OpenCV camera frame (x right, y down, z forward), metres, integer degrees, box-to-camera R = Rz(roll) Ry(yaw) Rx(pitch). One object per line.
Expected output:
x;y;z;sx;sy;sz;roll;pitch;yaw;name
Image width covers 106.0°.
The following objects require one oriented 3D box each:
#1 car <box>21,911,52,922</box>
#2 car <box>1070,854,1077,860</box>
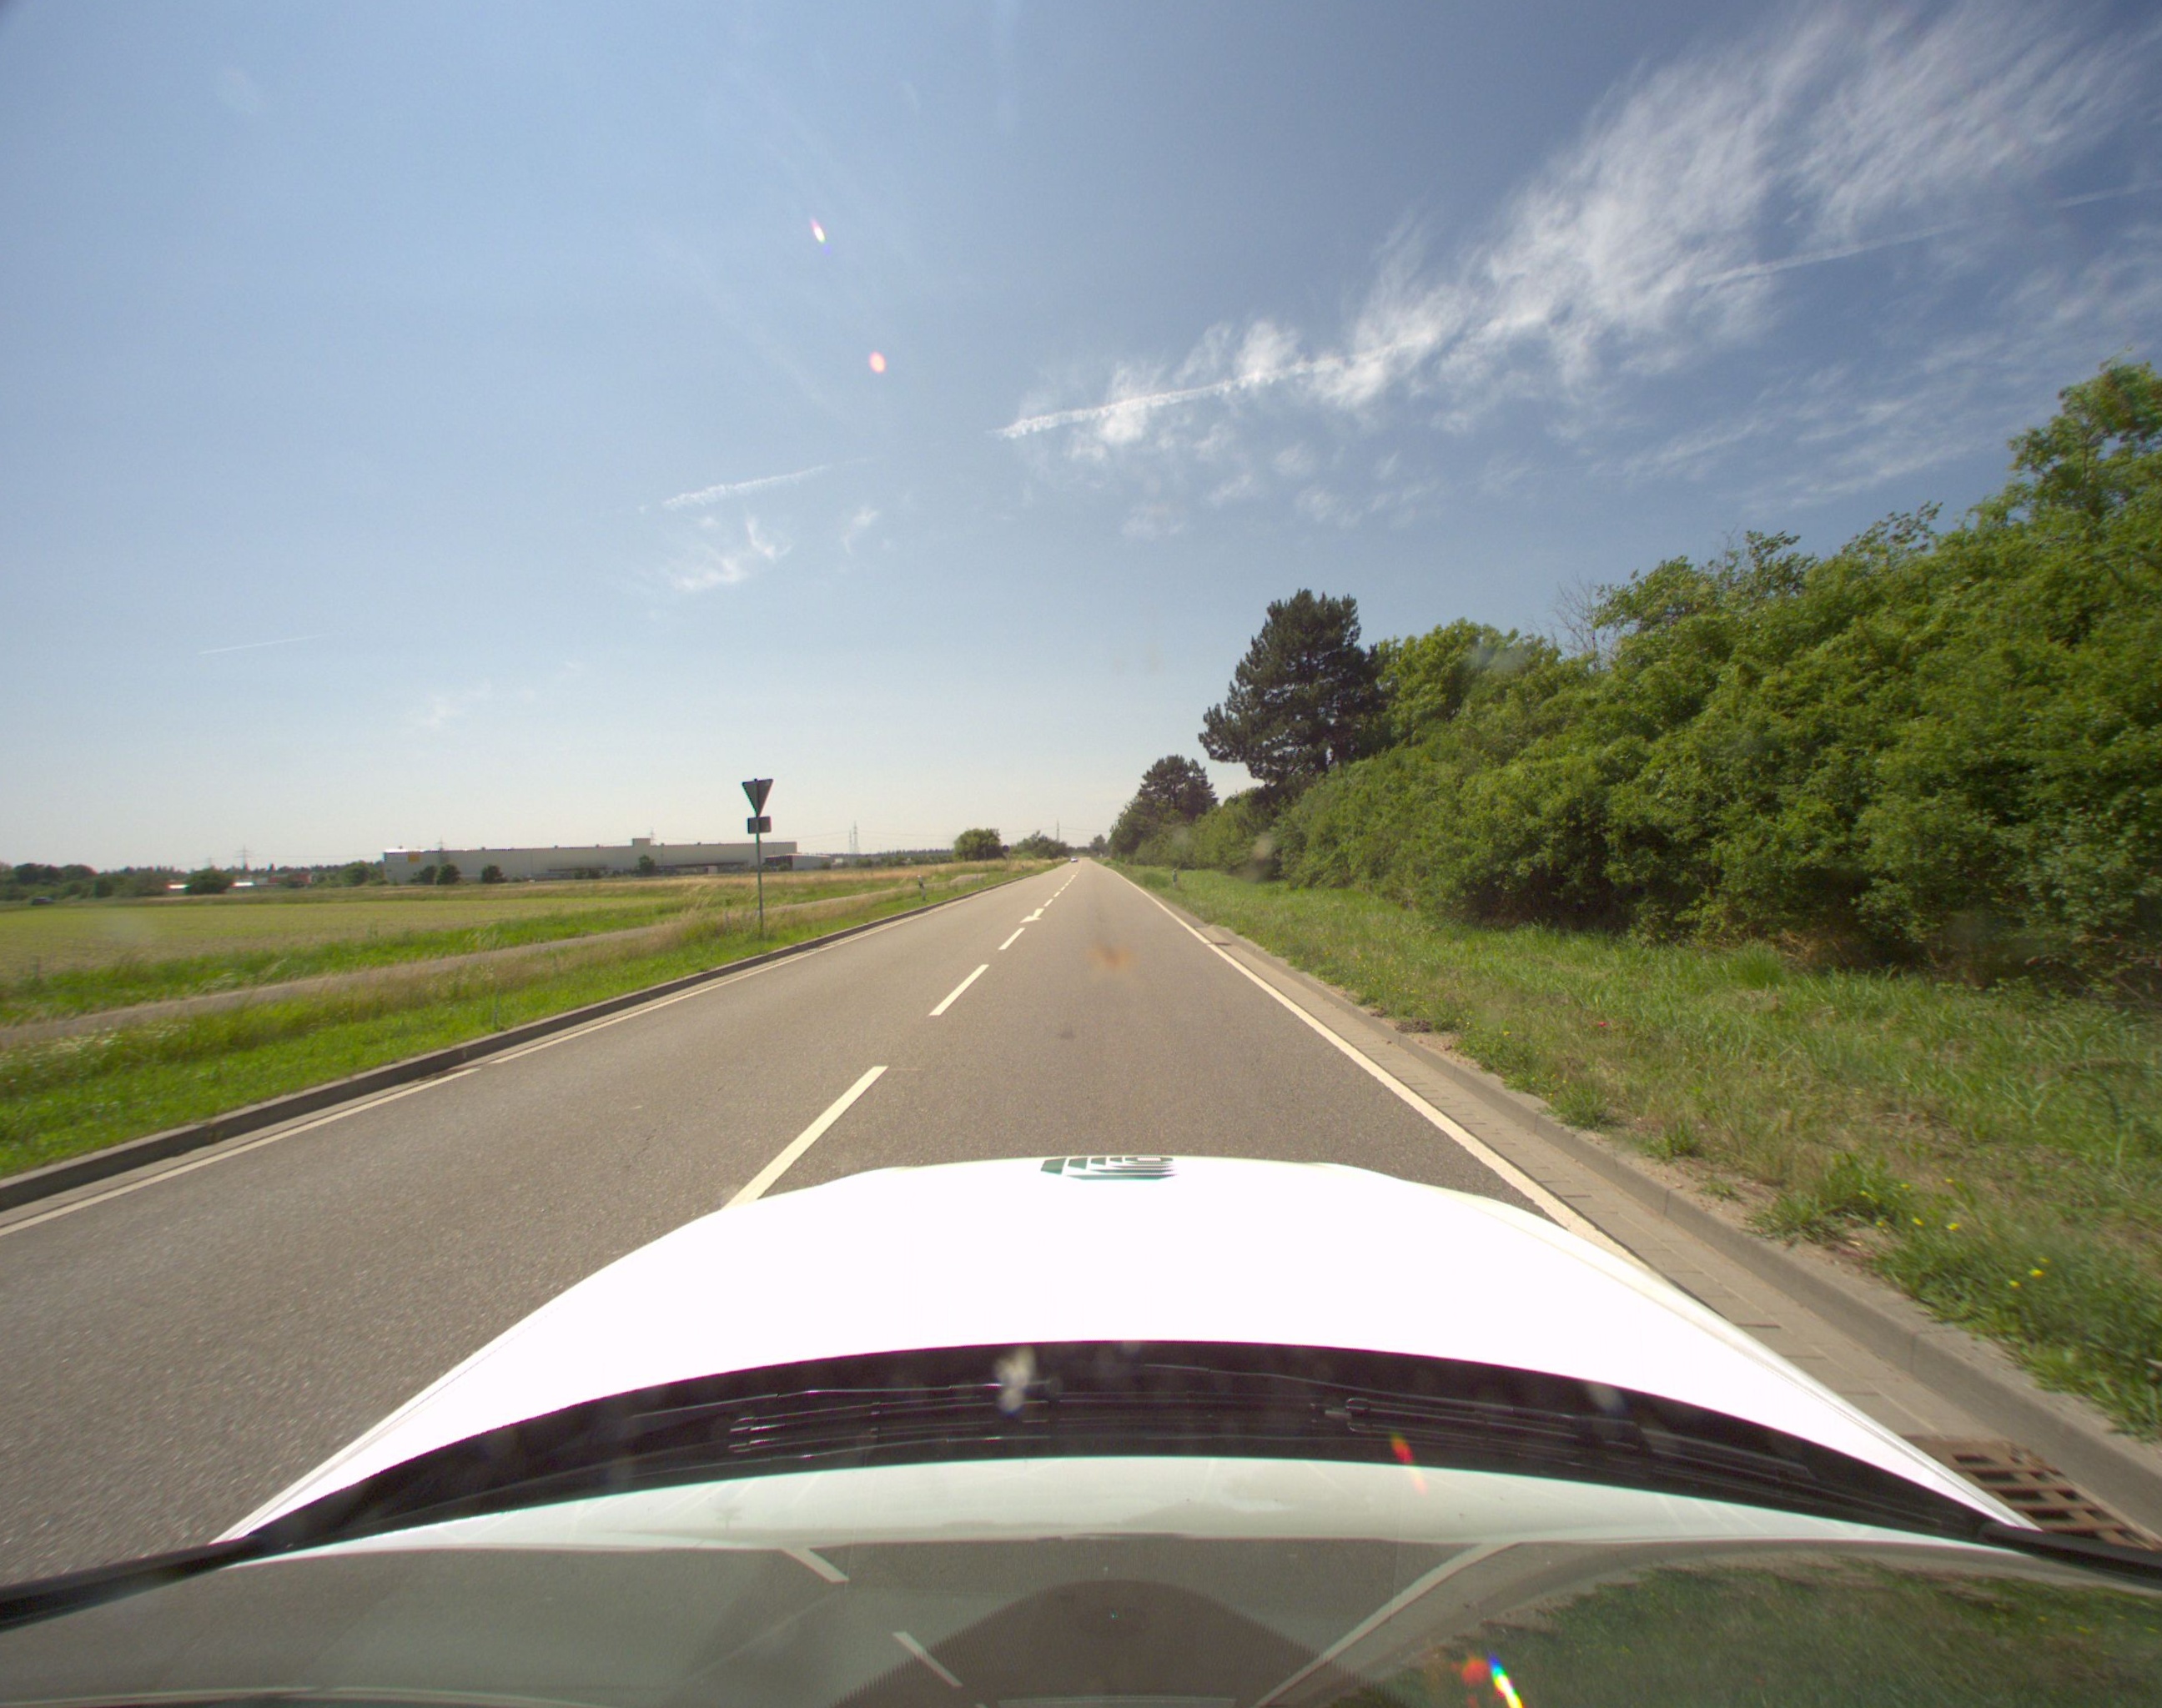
-198.943;11.866;155.083;2.004;1.771;3.965;-4;0;-27;car
-1.822;0.821;210.991;1.673;1.421;4.421;-5;0;0;car
